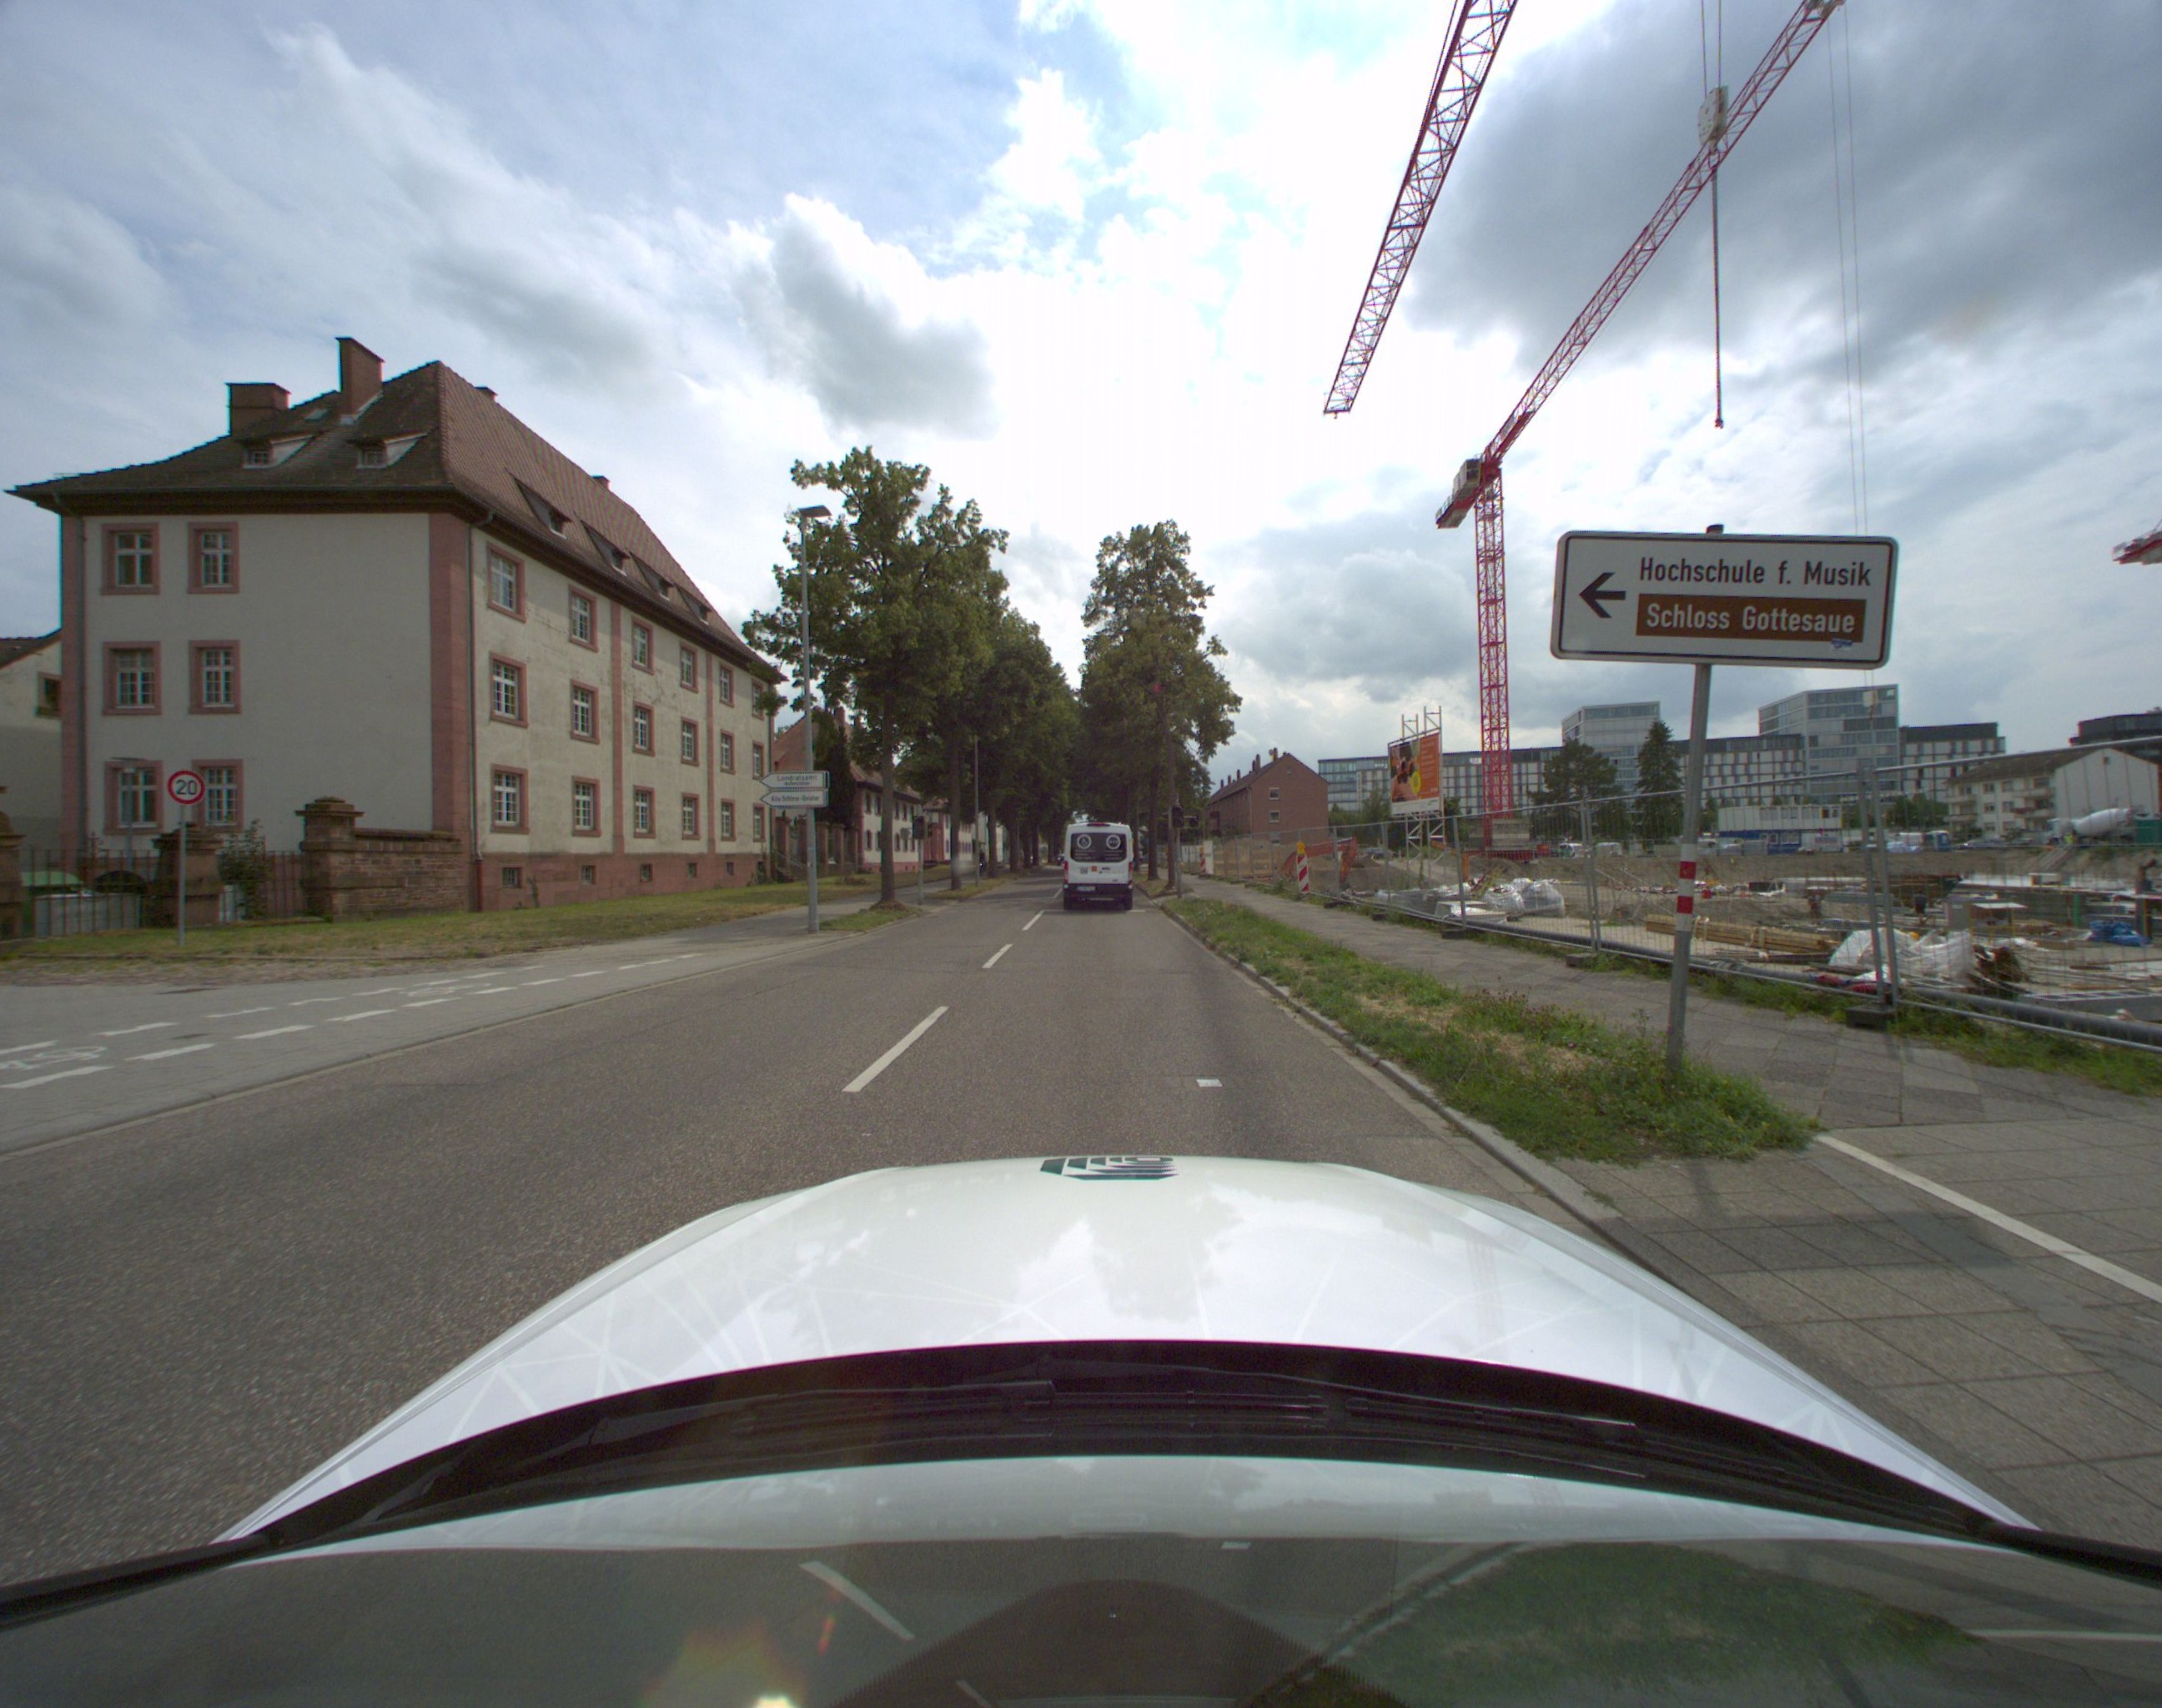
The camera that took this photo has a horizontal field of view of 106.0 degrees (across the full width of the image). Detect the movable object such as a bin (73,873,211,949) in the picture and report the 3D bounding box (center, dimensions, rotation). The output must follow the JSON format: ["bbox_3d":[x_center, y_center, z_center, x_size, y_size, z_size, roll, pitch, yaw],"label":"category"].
[{"bbox_3d":[-19.600,1.146,17.065,1.334,1.468,1.558,-1,-1,-23],"label":"movable object such as a bin"}]

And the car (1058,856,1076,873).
[{"bbox_3d":[-1.555,1.150,91.619,1.765,1.659,4.259,-3,0,2],"label":"car"}]

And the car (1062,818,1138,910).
[{"bbox_3d":[0.480,0.310,24.595,2.057,2.540,3.996,0,-1,-2],"label":"car"}]

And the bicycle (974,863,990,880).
[{"bbox_3d":[-6.936,1.206,57.121,0.720,1.095,2.151,3,0,1],"label":"bicycle"}]

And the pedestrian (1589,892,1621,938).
[{"bbox_3d":[20.977,2.436,32.604,0.835,1.722,0.723,-3,-1,16],"label":"pedestrian"}]

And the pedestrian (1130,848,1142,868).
[{"bbox_3d":[5.375,0.380,79.189,0.875,1.814,0.893,-3,-1,19],"label":"pedestrian"}]

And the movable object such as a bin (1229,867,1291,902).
[{"bbox_3d":[14.725,2.479,66.780,4.648,2.590,3.145,-3,-1,15],"label":"movable object such as a bin"}]

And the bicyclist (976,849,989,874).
[{"bbox_3d":[-6.910,0.523,57.157,0.720,1.656,0.958,3,0,0],"label":"bicyclist"}]

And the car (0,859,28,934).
[{"bbox_3d":[-26.120,1.077,17.464,1.760,1.710,3.961,-1,2,2],"label":"car"}]

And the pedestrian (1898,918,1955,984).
[{"bbox_3d":[23.690,2.704,22.830,0.722,1.722,0.838,-2,-1,-25],"label":"pedestrian"}]

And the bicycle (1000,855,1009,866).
[{"bbox_3d":[-8.054,0.665,85.724,0.720,1.095,2.225,3,0,1],"label":"bicycle"}]

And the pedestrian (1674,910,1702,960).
[{"bbox_3d":[21.933,2.904,29.440,0.711,1.722,0.850,-3,-1,35],"label":"pedestrian"}]

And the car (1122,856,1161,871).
[{"bbox_3d":[6.885,1.098,93.177,4.354,1.443,2.012,-2,-3,2],"label":"car"}]
